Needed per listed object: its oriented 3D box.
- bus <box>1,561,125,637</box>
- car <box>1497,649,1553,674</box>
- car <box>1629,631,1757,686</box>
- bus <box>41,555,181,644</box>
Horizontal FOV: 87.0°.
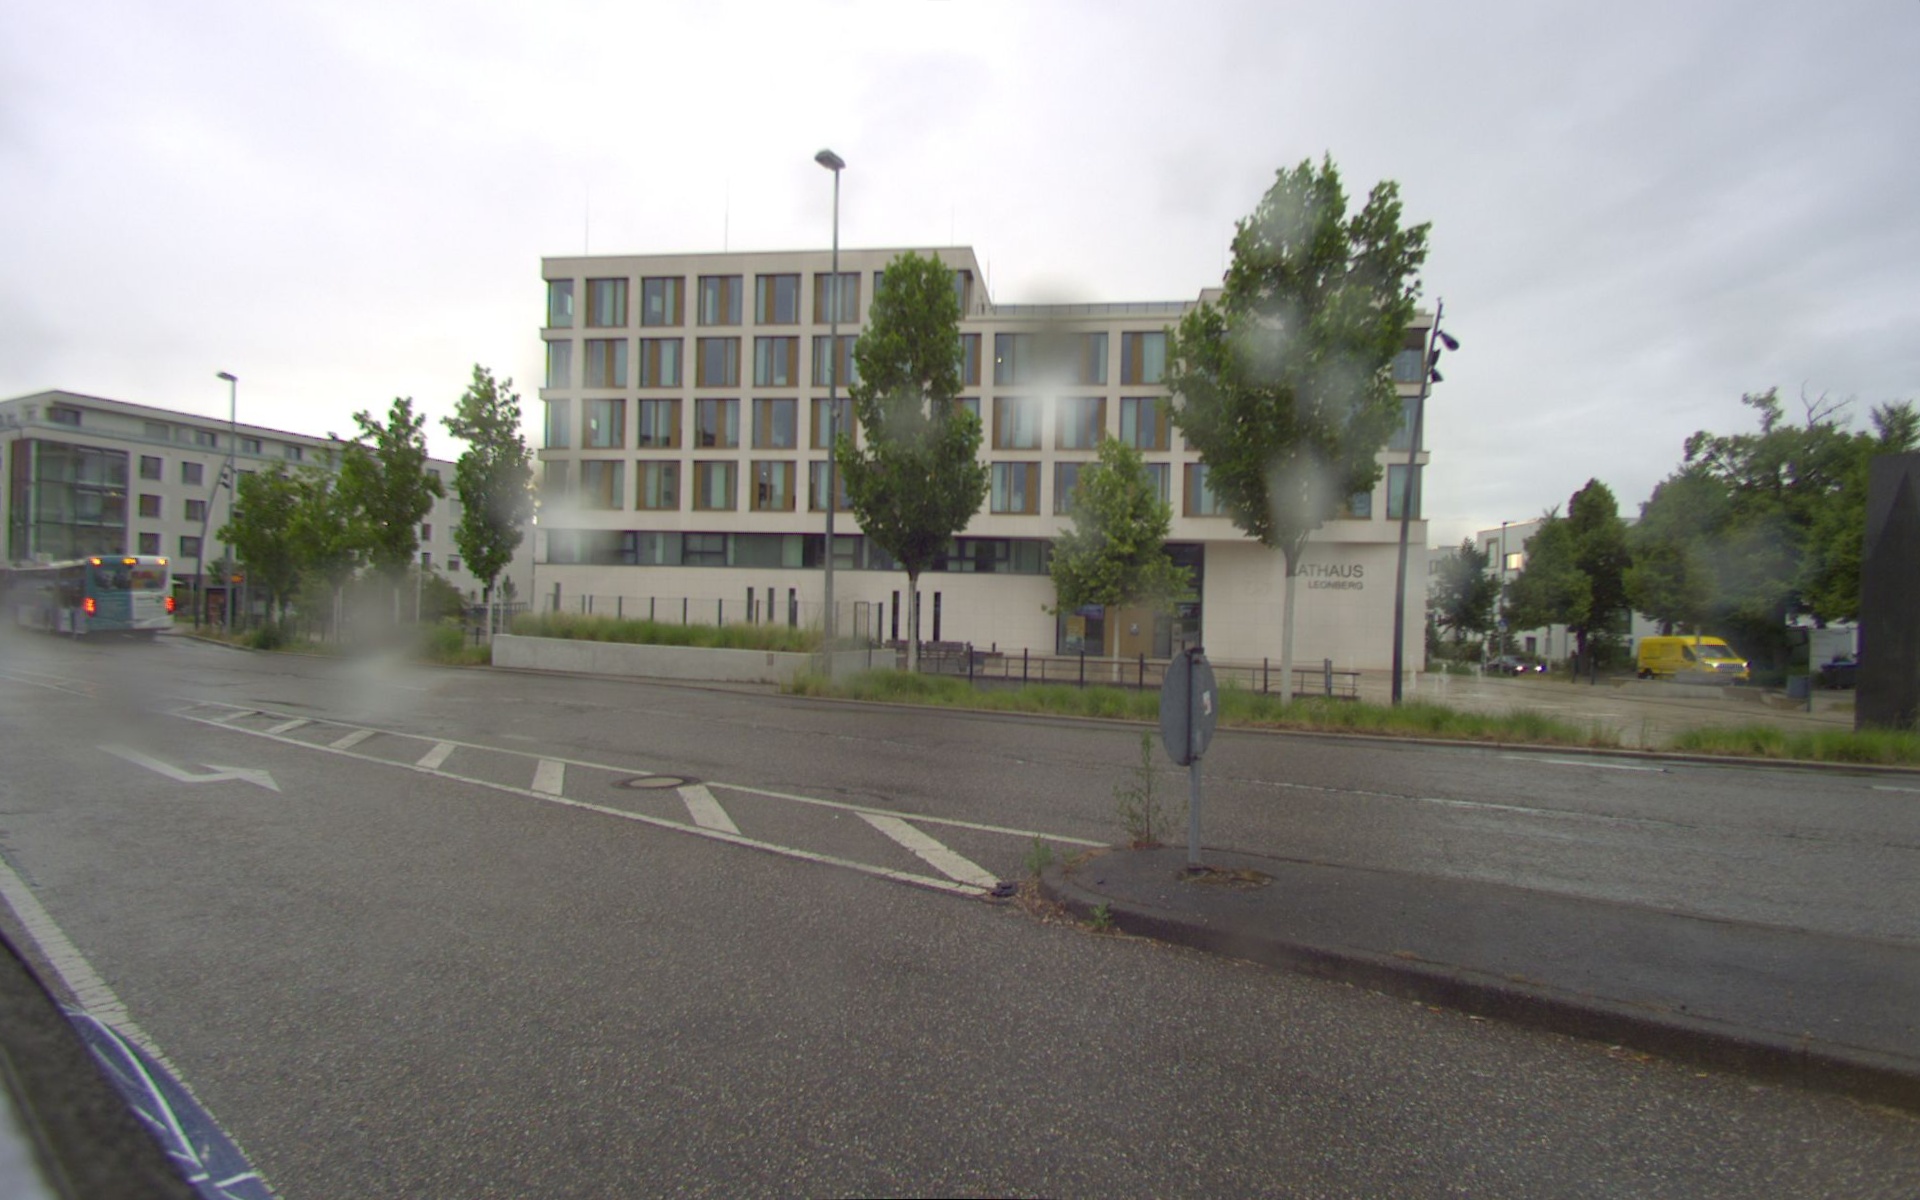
[{"bbox_3d":[-40.651,0.013,45.756,8.874,3.138,2.764,-1,-2,39],"label":"bus"},{"bbox_3d":[37.361,4.086,67.005,1.978,1.551,3.987,1,-3,10],"label":"car"},{"bbox_3d":[35.245,2.801,48.913,1.973,2.428,5.913,1,-3,2],"label":"car"},{"bbox_3d":[-33.672,0.054,39.977,9.363,3.138,2.748,-1,-2,41],"label":"bus"}]
